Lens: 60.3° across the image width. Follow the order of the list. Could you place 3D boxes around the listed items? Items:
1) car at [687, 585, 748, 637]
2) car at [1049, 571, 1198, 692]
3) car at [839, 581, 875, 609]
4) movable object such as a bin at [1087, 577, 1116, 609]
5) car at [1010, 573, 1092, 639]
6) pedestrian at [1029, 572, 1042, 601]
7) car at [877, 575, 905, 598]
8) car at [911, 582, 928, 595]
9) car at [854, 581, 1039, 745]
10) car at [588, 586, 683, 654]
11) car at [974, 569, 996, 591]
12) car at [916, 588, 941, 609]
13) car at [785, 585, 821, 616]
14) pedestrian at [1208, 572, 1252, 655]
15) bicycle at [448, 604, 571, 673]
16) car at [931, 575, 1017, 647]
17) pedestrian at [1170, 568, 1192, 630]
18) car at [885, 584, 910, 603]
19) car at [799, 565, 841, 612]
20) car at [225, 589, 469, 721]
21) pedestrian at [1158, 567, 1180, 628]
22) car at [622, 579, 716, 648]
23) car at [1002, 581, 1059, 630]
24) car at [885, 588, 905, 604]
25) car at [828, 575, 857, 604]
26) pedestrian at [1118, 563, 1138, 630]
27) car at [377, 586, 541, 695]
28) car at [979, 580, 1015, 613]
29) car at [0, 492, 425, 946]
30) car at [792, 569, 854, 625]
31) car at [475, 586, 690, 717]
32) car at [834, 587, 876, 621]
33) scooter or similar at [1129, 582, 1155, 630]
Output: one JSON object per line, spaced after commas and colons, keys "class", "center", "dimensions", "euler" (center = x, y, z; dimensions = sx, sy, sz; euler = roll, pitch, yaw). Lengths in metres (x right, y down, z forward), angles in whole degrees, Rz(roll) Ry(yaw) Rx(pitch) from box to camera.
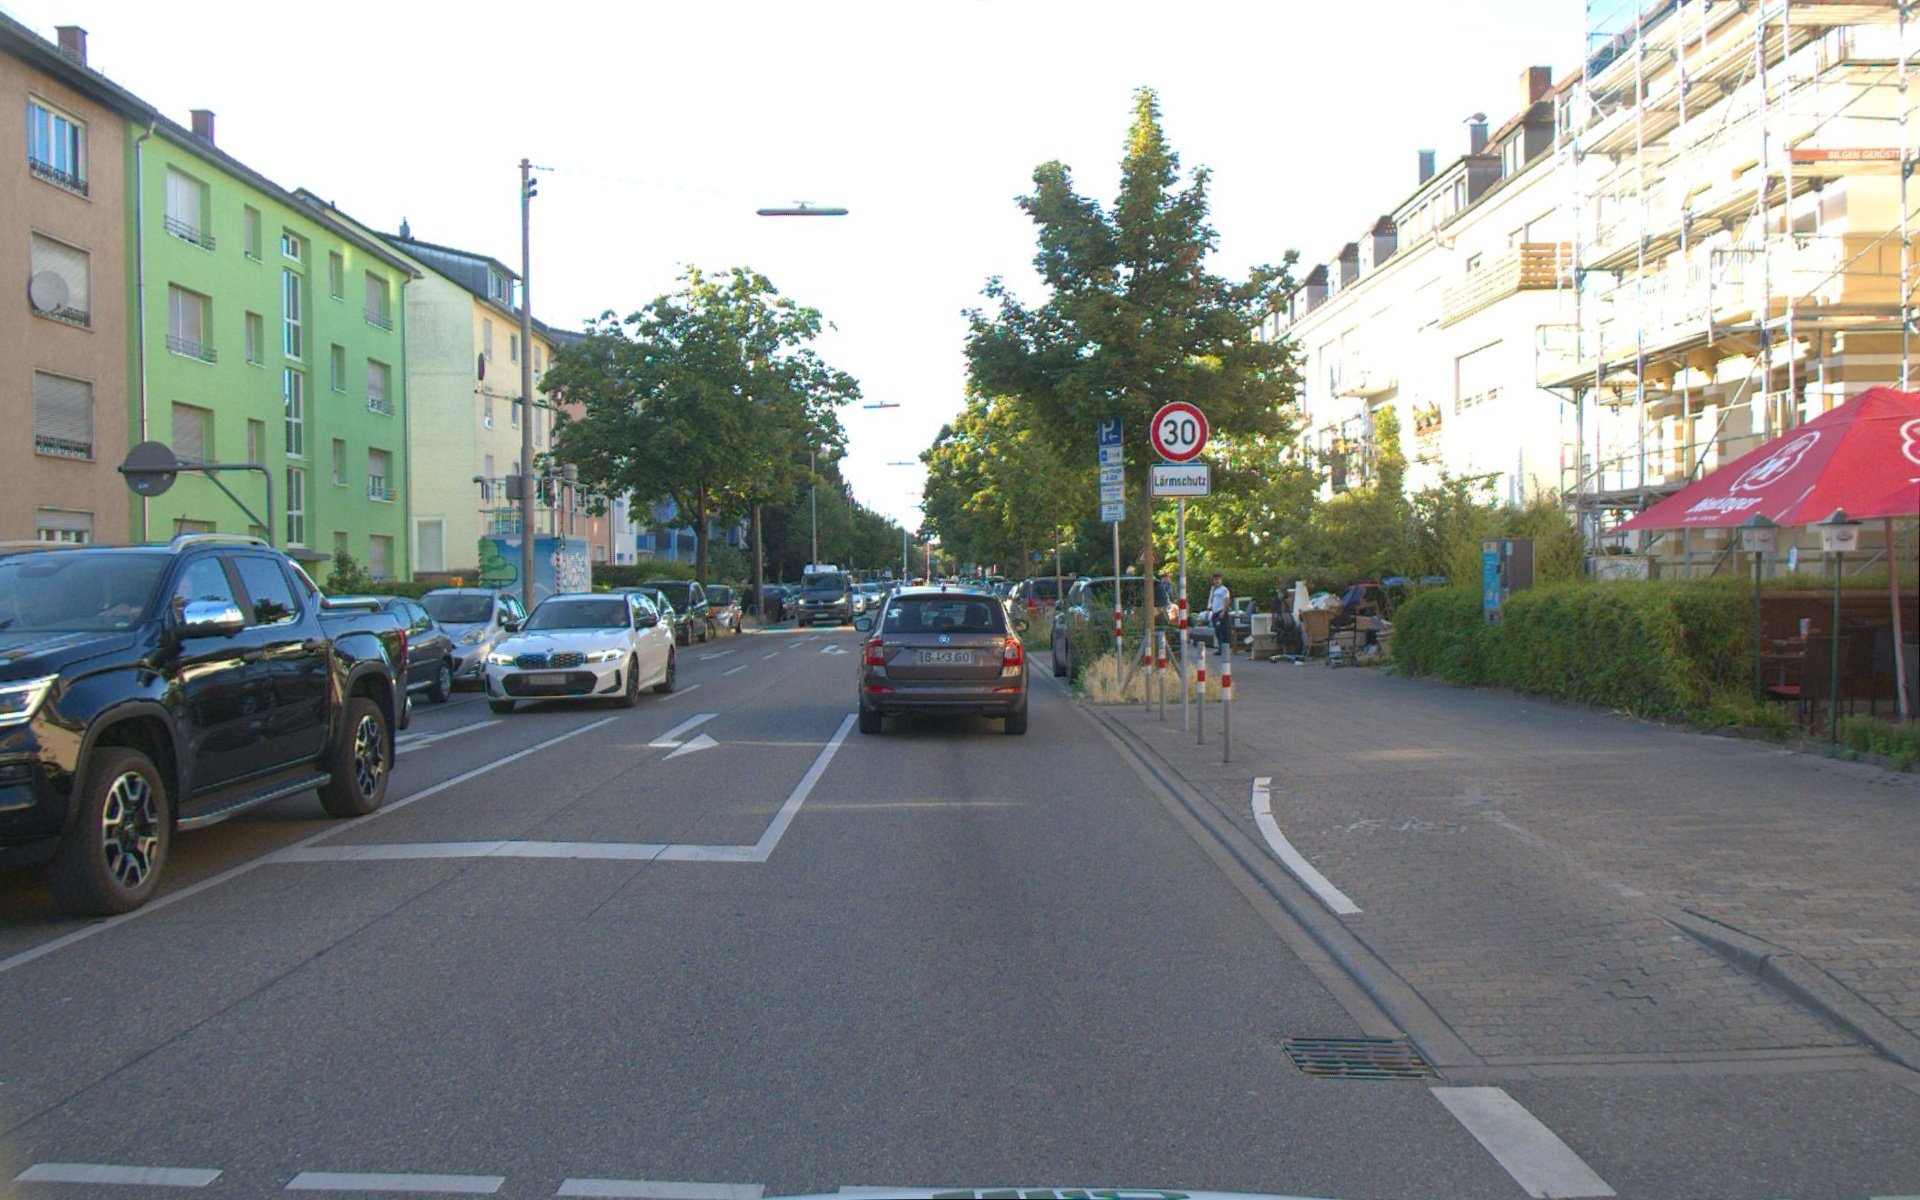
{"class": "car", "center": [-8.006, 0.337, 54.713], "dimensions": [1.468, 1.645, 2.862], "euler": [0, 1, 2]}
{"class": "car", "center": [2.385, 0.412, 25.036], "dimensions": [1.756, 1.660, 4.028], "euler": [-1, 1, -1]}
{"class": "car", "center": [-5.982, -0.325, 96.415], "dimensions": [1.795, 1.496, 4.451], "euler": [-4, 1, -1]}
{"class": "movable object such as a bin", "center": [6.917, -0.342, 80.706], "dimensions": [1.240, 1.518, 1.140], "euler": [-3, 0, 9]}
{"class": "car", "center": [2.400, 0.123, 44.485], "dimensions": [1.687, 1.684, 4.595], "euler": [0, 1, -3]}
{"class": "pedestrian", "center": [4.994, -0.866, 109.581], "dimensions": [0.733, 1.893, 1.068], "euler": [-1, 0, -1]}
{"class": "car", "center": [-4.521, -0.884, 108.855], "dimensions": [1.665, 1.428, 4.027], "euler": [-3, 1, -1]}
{"class": "car", "center": [-5.596, -1.554, 228.127], "dimensions": [1.955, 1.780, 3.995], "euler": [-1, 1, -6]}
{"class": "car", "center": [-0.090, 0.569, 17.586], "dimensions": [1.718, 1.518, 4.001], "euler": [1, 1, 1]}
{"class": "car", "center": [-7.923, 0.454, 40.684], "dimensions": [1.648, 1.547, 4.189], "euler": [-1, 1, -2]}
{"class": "car", "center": [2.042, -1.600, 134.010], "dimensions": [1.718, 1.716, 4.253], "euler": [1, 1, 1]}
{"class": "car", "center": [-2.447, -0.129, 127.338], "dimensions": [1.746, 1.506, 3.968], "euler": [1, 1, -4]}
{"class": "car", "center": [-8.151, 0.000, 86.112], "dimensions": [1.579, 1.498, 3.812], "euler": [1, 1, -1]}
{"class": "pedestrian", "center": [5.276, 0.259, 32.354], "dimensions": [0.547, 1.595, 0.744], "euler": [-1, 0, -19]}
{"class": "bicycle", "center": [-7.938, 0.672, 29.183], "dimensions": [1.964, 1.108, 0.583], "euler": [3, -1, 0]}
{"class": "car", "center": [0.285, 0.259, 39.198], "dimensions": [1.854, 1.532, 3.789], "euler": [3, -1, -1]}
{"class": "pedestrian", "center": [6.179, -0.029, 46.231], "dimensions": [0.500, 1.726, 0.526], "euler": [-1, 0, -5]}
{"class": "car", "center": [-5.026, -0.549, 133.861], "dimensions": [1.665, 1.496, 4.295], "euler": [-2, 1, 2]}
{"class": "car", "center": [-8.205, -0.694, 97.523], "dimensions": [1.953, 2.662, 7.104], "euler": [1, 1, -1]}
{"class": "car", "center": [-7.734, 0.632, 21.265], "dimensions": [1.619, 1.505, 3.943], "euler": [-1, 1, 1]}
{"class": "pedestrian", "center": [5.962, -0.081, 47.254], "dimensions": [0.500, 1.726, 0.526], "euler": [-1, 0, -5]}
{"class": "car", "center": [-7.958, 0.325, 45.546], "dimensions": [1.747, 1.763, 4.617], "euler": [-1, 1, 0]}
{"class": "car", "center": [2.293, 0.159, 54.693], "dimensions": [1.603, 1.516, 4.415], "euler": [-2, 1, -1]}
{"class": "car", "center": [-6.552, -0.423, 166.527], "dimensions": [1.842, 1.570, 4.264], "euler": [-1, 1, -4]}
{"class": "car", "center": [-8.559, -0.777, 120.672], "dimensions": [1.831, 2.066, 5.300], "euler": [0, 1, -1]}
{"class": "pedestrian", "center": [4.795, -0.096, 47.149], "dimensions": [0.537, 1.881, 0.765], "euler": [0, 0, 6]}
{"class": "car", "center": [-7.817, 0.574, 26.135], "dimensions": [1.604, 1.579, 3.784], "euler": [-1, 1, -3]}
{"class": "car", "center": [1.877, -0.213, 84.550], "dimensions": [1.683, 1.629, 4.095], "euler": [-1, 1, -1]}
{"class": "car", "center": [-4.805, 0.504, 9.393], "dimensions": [1.824, 1.861, 5.226], "euler": [-2, 0, -1]}
{"class": "car", "center": [-5.183, -0.127, 63.173], "dimensions": [1.953, 1.979, 4.777], "euler": [-3, 1, -1]}
{"class": "car", "center": [-4.928, 0.600, 22.255], "dimensions": [1.799, 1.499, 4.671], "euler": [-2, 1, 0]}
{"class": "car", "center": [-4.935, 0.152, 78.382], "dimensions": [1.779, 1.471, 4.109], "euler": [-3, 1, -2]}
{"class": "scooter or similar", "center": [5.190, 0.169, 47.110], "dimensions": [0.730, 1.340, 0.721], "euler": [0, 0, 6]}
